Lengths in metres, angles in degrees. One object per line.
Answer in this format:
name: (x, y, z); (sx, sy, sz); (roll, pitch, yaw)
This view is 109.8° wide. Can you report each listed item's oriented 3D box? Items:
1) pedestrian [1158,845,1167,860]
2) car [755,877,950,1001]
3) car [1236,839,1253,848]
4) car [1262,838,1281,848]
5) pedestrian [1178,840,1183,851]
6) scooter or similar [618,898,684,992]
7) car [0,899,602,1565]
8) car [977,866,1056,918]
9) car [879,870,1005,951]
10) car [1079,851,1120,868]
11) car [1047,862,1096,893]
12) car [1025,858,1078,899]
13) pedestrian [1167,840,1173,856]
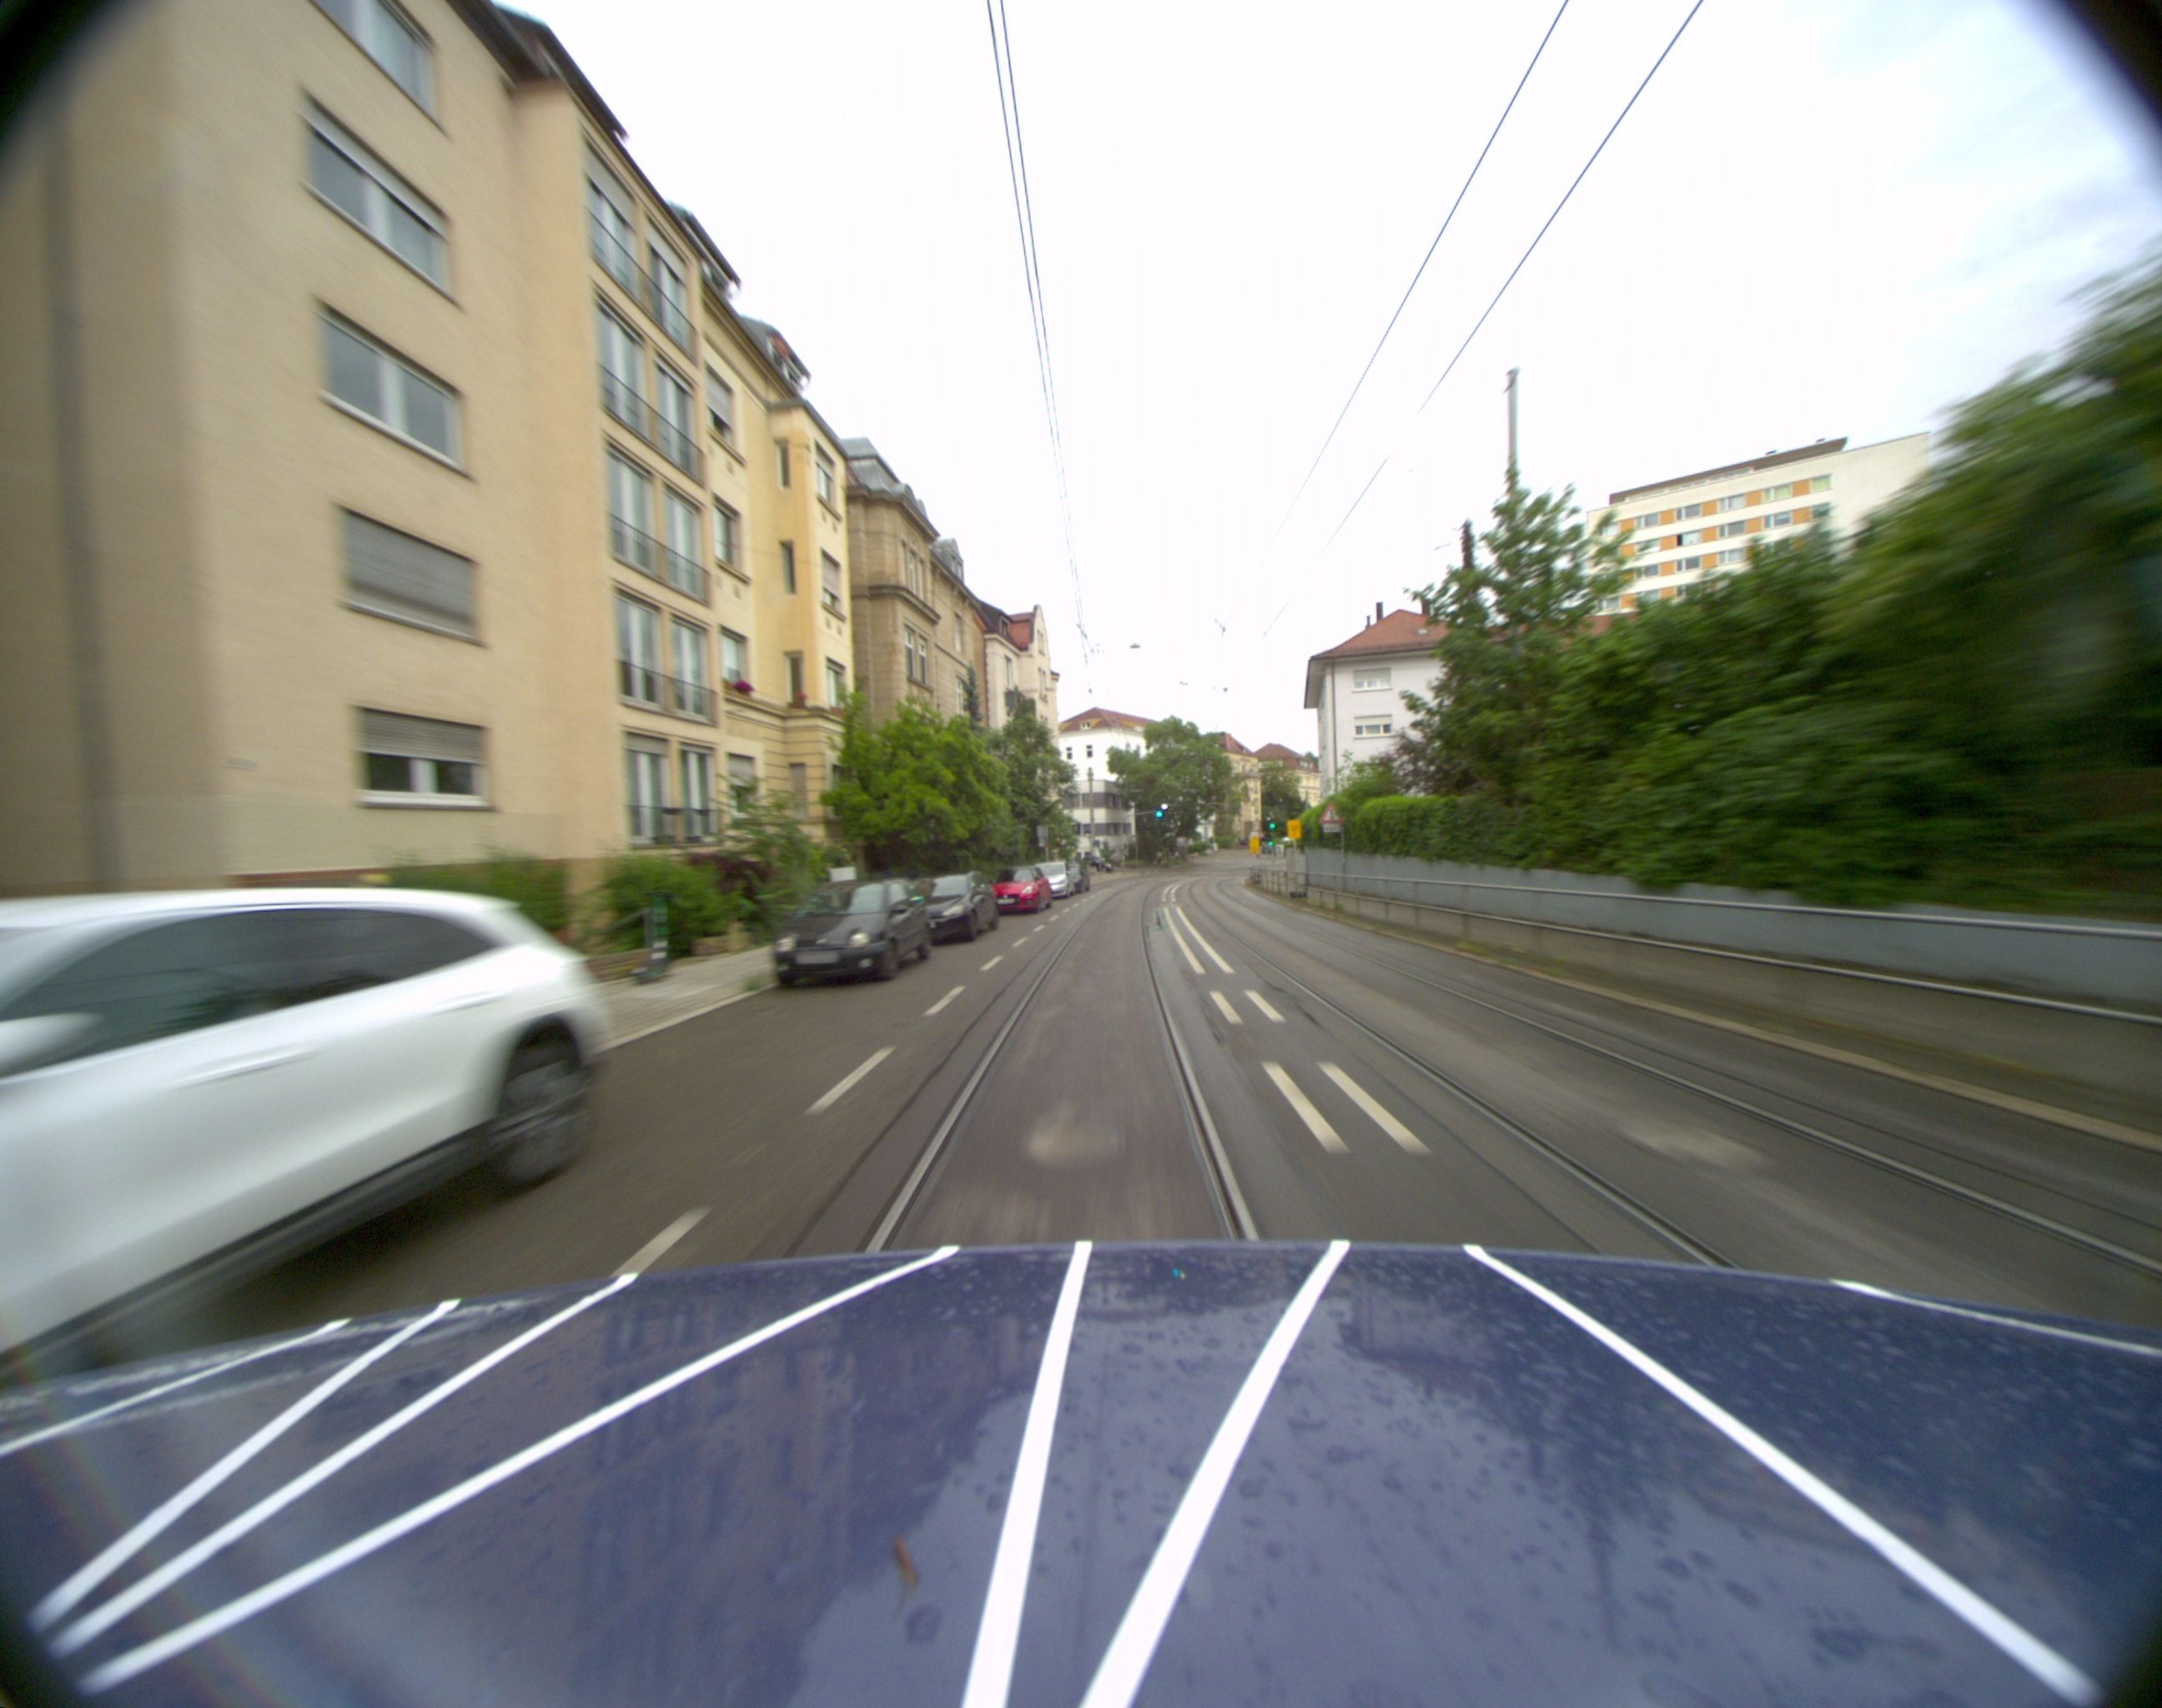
pedestrian: (9.368, -0.191, 87.581); (0.743, 1.690, 0.674); (3, 0, 22)
car: (-3.333, 1.166, 11.982); (1.560, 1.428, 4.304); (-3, 0, 2)
car: (28.984, -1.845, 134.665); (1.595, 1.333, 3.643); (-1, -1, 35)
car: (29.285, -1.678, 116.555); (1.689, 1.434, 3.811); (1, 2, 32)
pedestrian: (13.109, -1.139, 100.527); (0.386, 1.498, 0.537); (-2, 3, -37)
scooter or similar: (-6.147, 1.265, 10.908); (0.470, 1.227, 1.198); (0, -1, -12)
car: (-3.716, 1.094, 2.196); (1.842, 1.564, 4.248); (-4, 0, 0)
car: (-1.995, 1.156, 24.476); (1.725, 1.428, 3.843); (-3, 0, 7)
car: (-2.882, 1.135, 16.674); (1.687, 1.428, 4.065); (-3, 0, 4)
car: (1.815, 0.497, 75.381); (3.662, 1.500, 1.739); (2, 2, 18)
car: (-0.437, 1.171, 38.364); (1.769, 1.382, 4.004); (-3, -2, 9)
car: (-1.213, 1.034, 33.132); (1.769, 1.594, 4.289); (-1, 0, 5)
pedestrian: (11.175, -0.770, 95.370); (0.542, 1.913, 0.917); (0, 3, 14)
